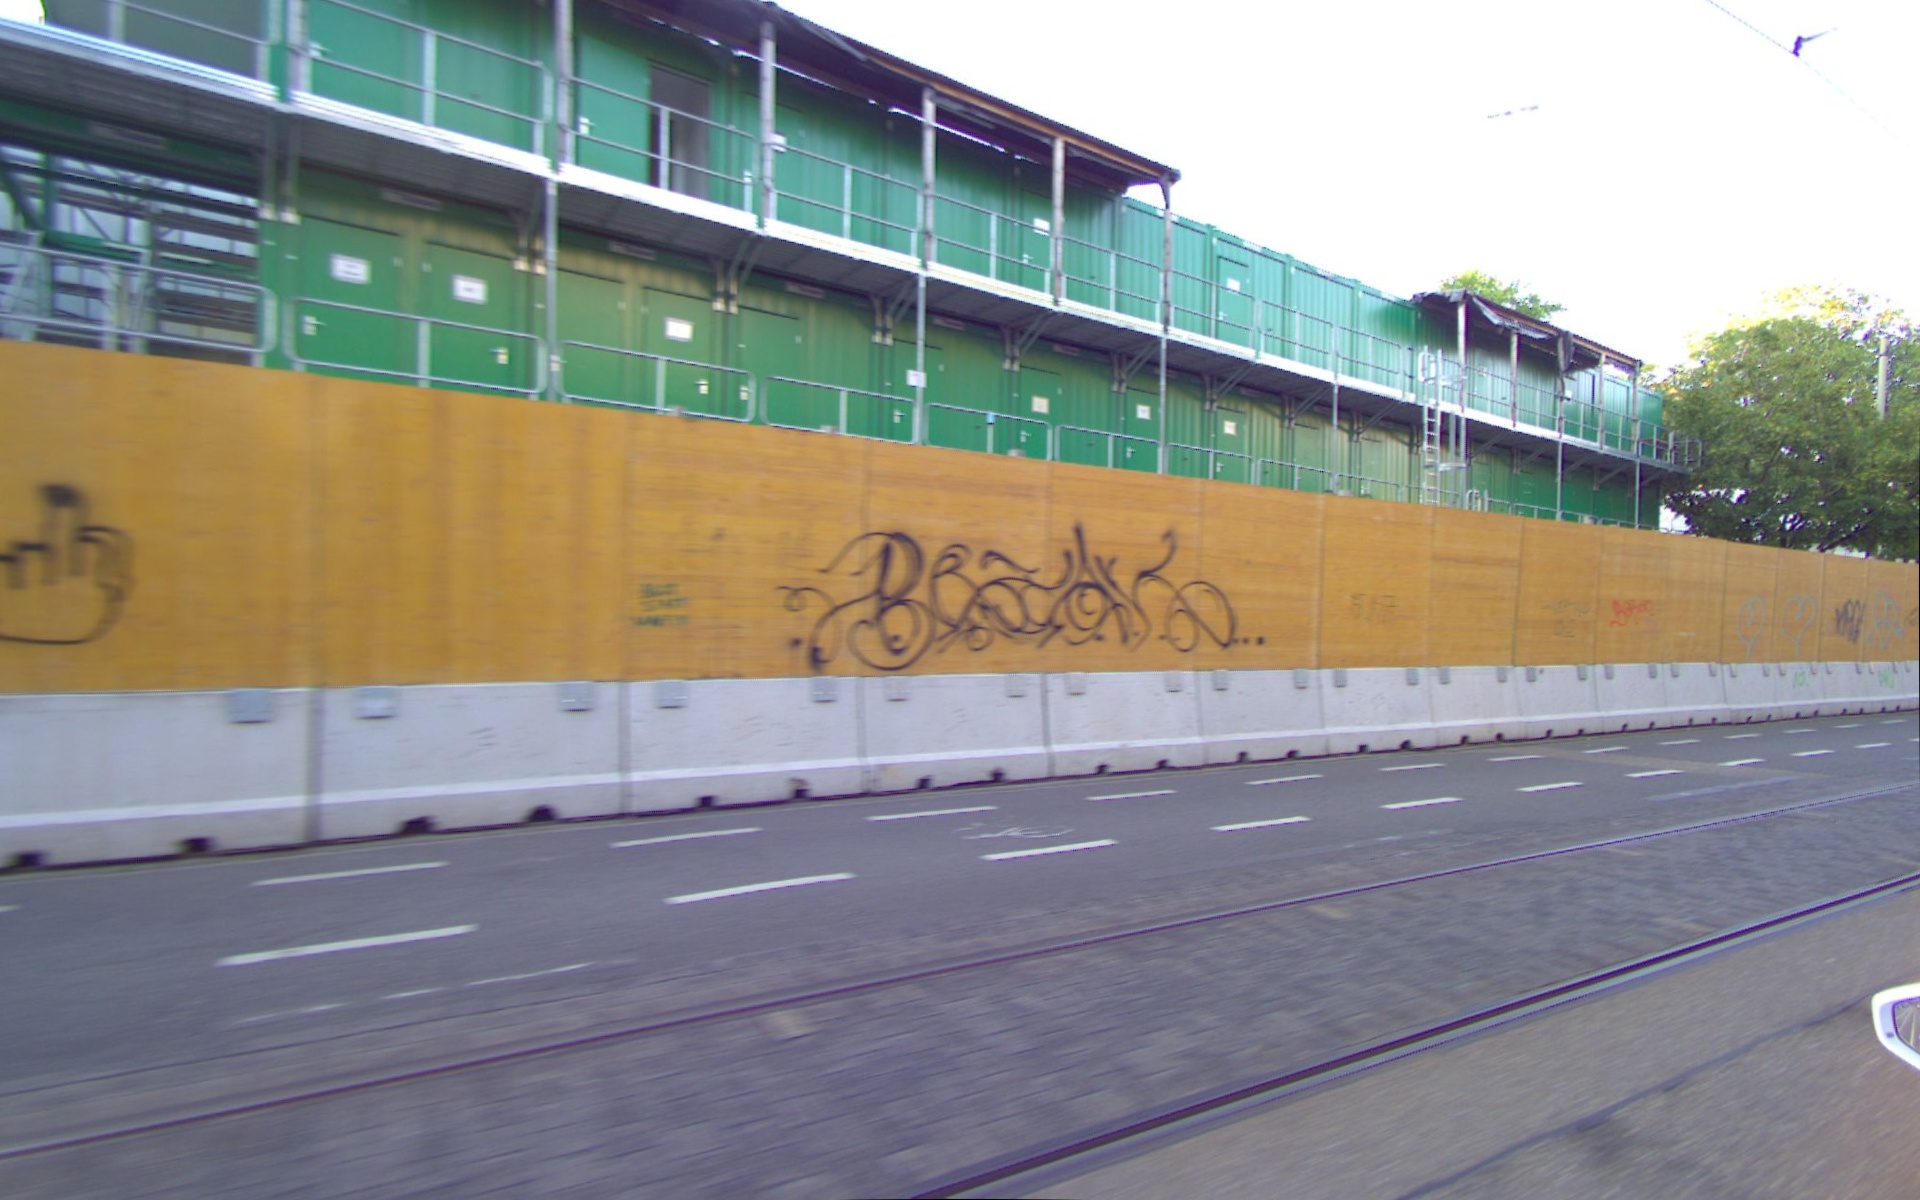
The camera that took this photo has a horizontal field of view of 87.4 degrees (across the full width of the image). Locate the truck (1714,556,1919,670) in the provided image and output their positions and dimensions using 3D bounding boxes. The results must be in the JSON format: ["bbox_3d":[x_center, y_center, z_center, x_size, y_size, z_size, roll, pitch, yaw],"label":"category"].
[{"bbox_3d":[29.635,0.346,33.189,2.514,3.528,7.014,0,2,-33],"label":"truck"}]

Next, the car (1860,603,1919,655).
[{"bbox_3d":[39.287,1.208,39.723,2.197,1.971,5.010,1,2,-25],"label":"car"}]

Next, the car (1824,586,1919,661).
[{"bbox_3d":[34.802,0.875,35.985,2.202,2.593,5.368,0,2,-32],"label":"car"}]
